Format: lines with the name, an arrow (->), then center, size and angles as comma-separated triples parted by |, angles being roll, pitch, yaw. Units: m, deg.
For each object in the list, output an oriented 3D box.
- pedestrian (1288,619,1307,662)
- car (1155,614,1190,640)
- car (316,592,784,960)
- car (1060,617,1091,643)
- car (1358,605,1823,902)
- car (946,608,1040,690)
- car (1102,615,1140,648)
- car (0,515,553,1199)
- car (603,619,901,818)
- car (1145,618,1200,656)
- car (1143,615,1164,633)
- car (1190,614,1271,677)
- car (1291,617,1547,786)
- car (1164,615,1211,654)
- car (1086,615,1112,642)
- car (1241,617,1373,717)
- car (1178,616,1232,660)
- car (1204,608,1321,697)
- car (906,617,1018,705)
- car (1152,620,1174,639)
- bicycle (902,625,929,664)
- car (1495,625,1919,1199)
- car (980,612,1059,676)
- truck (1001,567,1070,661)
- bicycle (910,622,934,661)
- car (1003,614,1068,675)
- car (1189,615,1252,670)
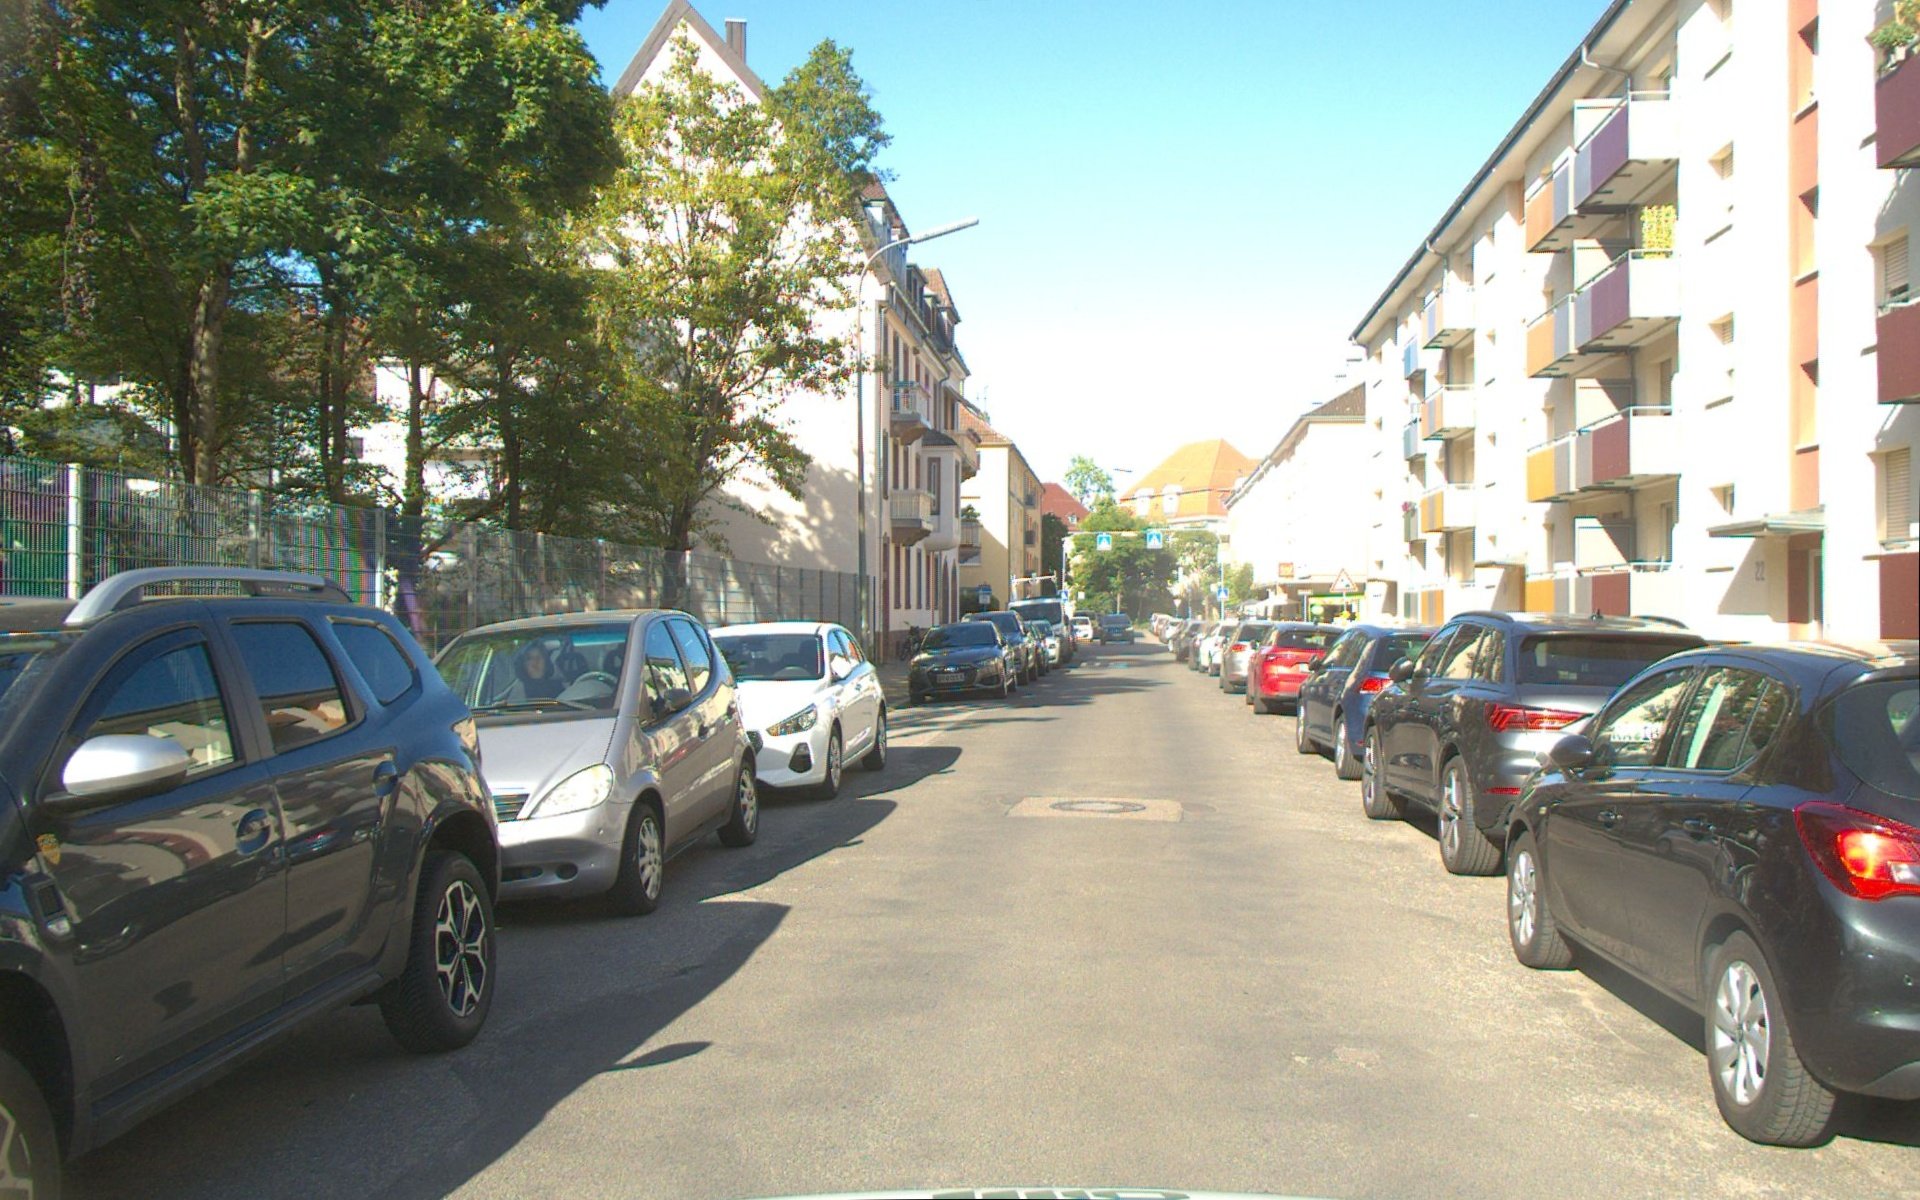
pedestrian -> 11.439, 1.370, 56.135 | 0.563, 1.458, 0.472 | -2, 0, 8
car -> 12.544, 1.583, 97.632 | 1.806, 1.466, 3.420 | 0, -1, 3
car -> -2.171, 0.873, 9.745 | 1.531, 1.672, 3.617 | -4, -1, 4
car -> 7.196, 1.866, 102.921 | 1.753, 1.506, 4.101 | -1, 0, 6
car -> 3.938, 0.855, 11.121 | 1.715, 1.586, 4.256 | 1, -1, 3
car -> 0.826, 1.091, 38.161 | 1.839, 1.693, 4.934 | -2, -1, 4
car -> 8.393, 1.619, 85.854 | 1.783, 1.662, 4.260 | -1, 0, 7
car -> -2.648, 0.739, 4.546 | 1.676, 1.693, 4.167 | -3, -1, 4
car -> -1.682, 0.942, 14.799 | 1.756, 1.470, 4.122 | -2, -1, 5
car -> 9.071, 1.601, 70.855 | 1.815, 1.550, 4.777 | 1, -1, 1
car -> 16.395, 2.011, 140.185 | 1.603, 1.466, 3.421 | 0, -1, 5
car -> 7.352, 1.220, 45.202 | 1.651, 1.488, 3.821 | 5, -1, 3
car -> 4.560, 0.947, 17.014 | 1.715, 1.507, 4.081 | 1, -1, 3
car -> 8.943, 1.358, 65.157 | 1.610, 1.485, 3.941 | 1, -1, 5
car -> 9.568, 1.958, 113.858 | 1.661, 1.810, 4.101 | 0, -1, 6
car -> 5.457, 1.008, 26.468 | 1.715, 1.469, 4.526 | 0, -1, 7
car -> 8.767, 1.343, 59.396 | 1.754, 1.497, 4.342 | 0, -1, 6
car -> 6.083, 1.032, 33.702 | 1.858, 1.650, 4.604 | 1, -1, 4
car -> 0.119, 1.107, 31.555 | 1.756, 1.496, 4.504 | -2, -1, 4
car -> 15.874, 2.294, 129.266 | 1.603, 1.466, 3.421 | 0, -1, 5
bicycle -> -1.460, 1.446, 54.746 | 0.616, 1.225, 2.342 | 0, 0, 6
car -> 3.224, 0.852, 6.029 | 1.571, 1.510, 3.799 | 0, -1, 4
car -> 1.644, 1.144, 44.113 | 1.754, 1.590, 4.462 | 1, -1, 6
truck -> 2.646, 0.524, 57.516 | 2.212, 3.038, 7.278 | 0, -1, 3
bicycle -> -1.321, 1.429, 57.673 | 0.557, 1.301, 2.342 | 0, 0, 6
car -> 2.356, 1.327, 50.488 | 1.755, 1.567, 4.643 | -6, 0, 4
car -> 7.787, 1.246, 49.652 | 1.652, 1.492, 3.585 | 2, 0, 6
